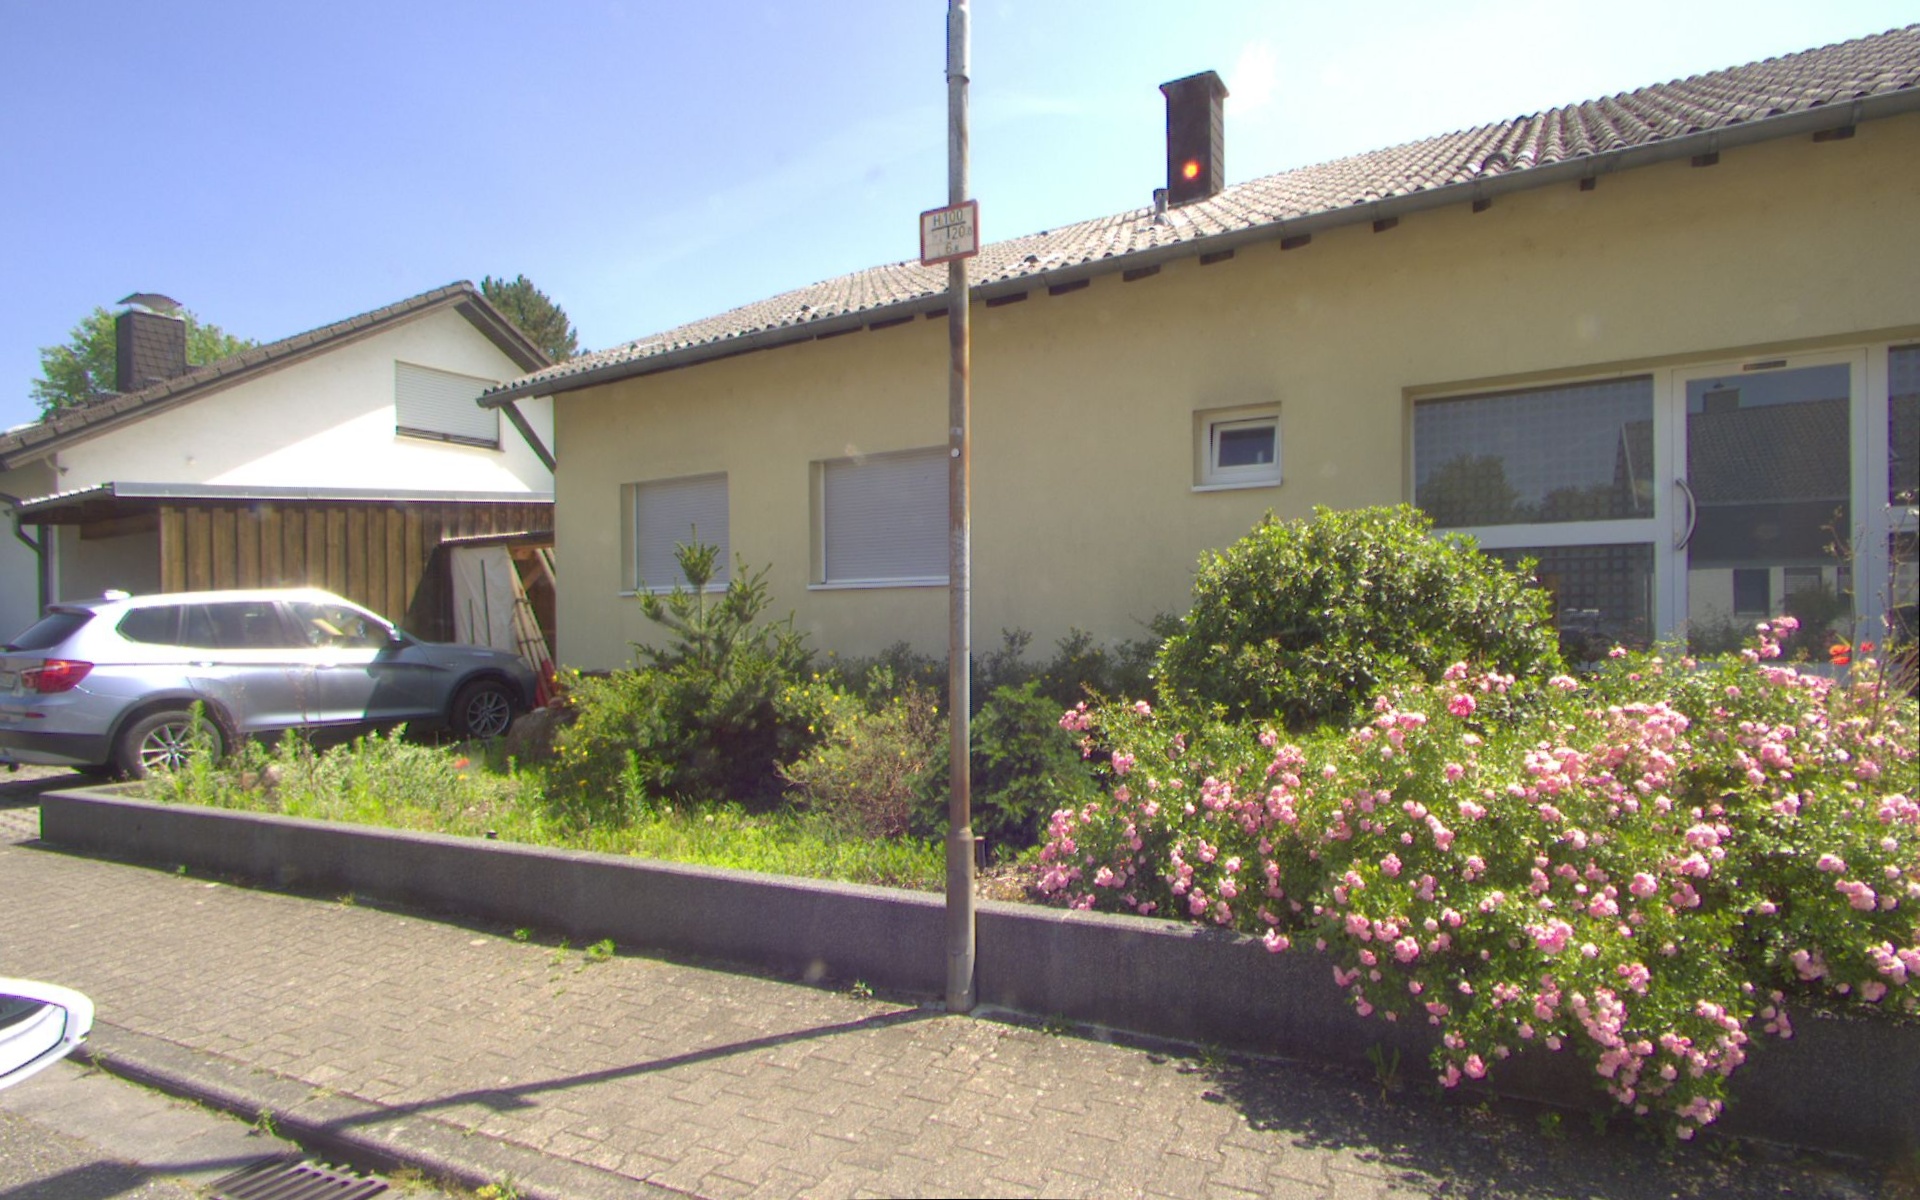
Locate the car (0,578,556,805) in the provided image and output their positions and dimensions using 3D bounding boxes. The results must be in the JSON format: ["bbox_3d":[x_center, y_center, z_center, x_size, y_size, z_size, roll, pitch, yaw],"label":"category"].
[{"bbox_3d":[-6.605,0.674,9.985,1.686,1.725,4.614,-1,1,34],"label":"car"}]

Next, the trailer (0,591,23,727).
[{"bbox_3d":[-13.631,0.745,12.826,3.249,1.695,1.583,0,1,32],"label":"trailer"}]
